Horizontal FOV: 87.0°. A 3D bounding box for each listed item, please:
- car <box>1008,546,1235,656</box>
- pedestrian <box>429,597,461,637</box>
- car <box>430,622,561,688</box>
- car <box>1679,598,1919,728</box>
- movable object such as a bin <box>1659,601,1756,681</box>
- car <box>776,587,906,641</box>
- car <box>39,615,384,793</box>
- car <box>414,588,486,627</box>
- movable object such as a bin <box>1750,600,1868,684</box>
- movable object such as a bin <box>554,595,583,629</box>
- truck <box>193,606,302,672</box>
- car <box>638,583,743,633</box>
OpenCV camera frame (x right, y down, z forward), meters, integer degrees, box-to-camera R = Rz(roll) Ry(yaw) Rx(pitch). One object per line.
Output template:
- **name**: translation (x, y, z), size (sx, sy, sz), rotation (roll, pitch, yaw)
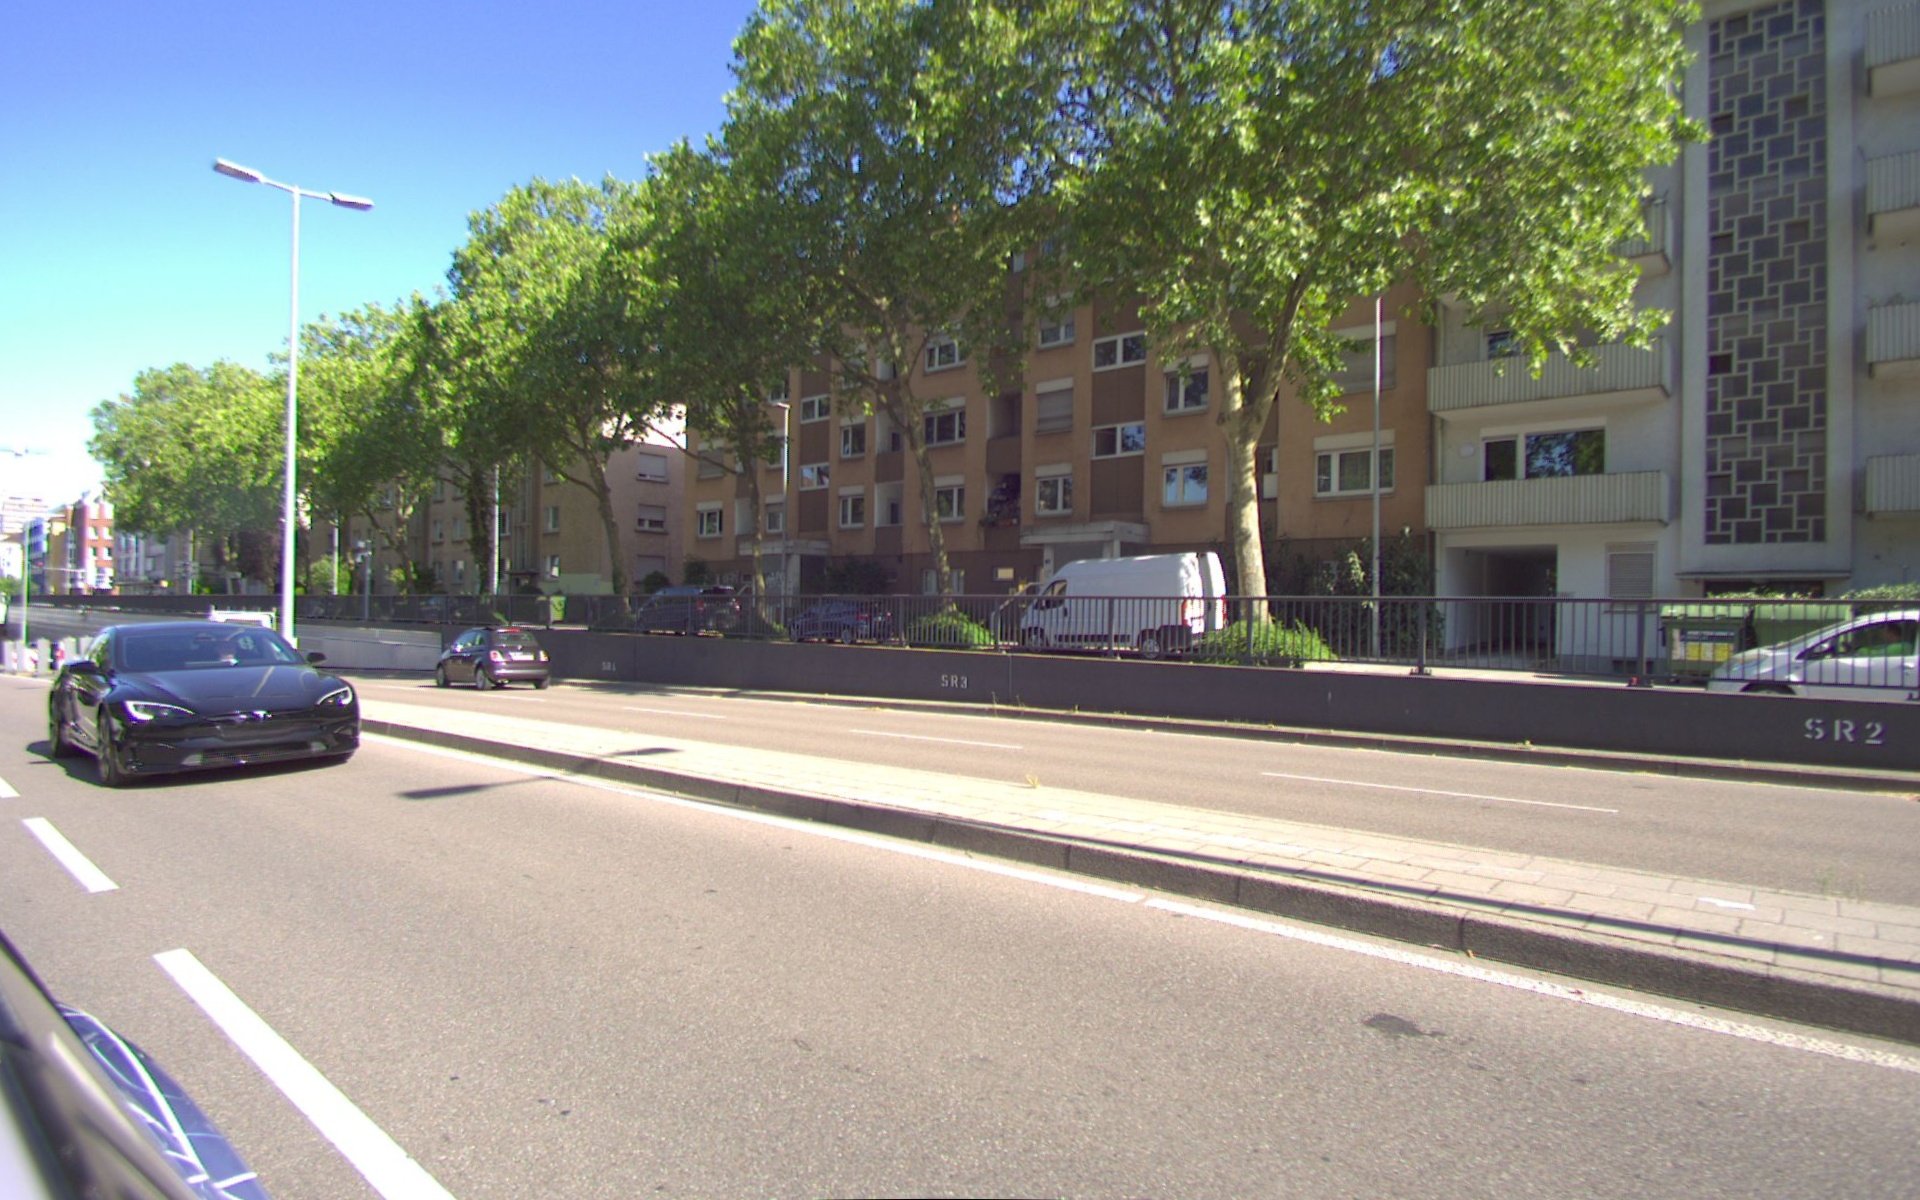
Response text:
- **car**: translation (3.943, 0.124, 25.377), size (5.286, 2.465, 2.220), rotation (-2, -4, 43)
- **pedestrian**: translation (-23.423, 0.780, 46.046), size (1.018, 1.814, 0.890), rotation (-1, -4, 37)
- **car**: translation (-11.355, 1.344, 24.678), size (3.296, 1.485, 1.641), rotation (-2, -5, 41)
- **car**: translation (11.206, 0.730, 12.467), size (3.688, 1.498, 1.611), rotation (-1, -1, 41)
- **movable object such as a bin**: translation (13.458, 0.736, 18.226), size (1.314, 1.373, 0.883), rotation (-2, -4, 41)
- **car**: translation (-3.846, 0.502, 32.427), size (3.999, 1.592, 1.972), rotation (-2, -4, 42)
- **car**: translation (-7.791, 0.888, 10.353), size (4.623, 1.422, 1.905), rotation (-2, -1, 41)
- **car**: translation (-26.571, 0.428, 52.701), size (3.998, 1.864, 1.973), rotation (-2, -4, 41)
- **movable object such as a bin**: translation (14.449, 0.717, 17.245), size (1.474, 1.371, 0.883), rotation (-2, -4, 43)
- **movable object such as a bin**: translation (-19.855, 0.627, 51.329), size (1.253, 1.654, 0.873), rotation (-2, -4, 41)
- **truck**: translation (-27.983, 1.540, 39.678), size (5.366, 2.413, 2.255), rotation (-2, -4, 42)
- **car**: translation (-10.146, 0.336, 37.964), size (3.999, 1.766, 1.972), rotation (-2, -2, 42)
